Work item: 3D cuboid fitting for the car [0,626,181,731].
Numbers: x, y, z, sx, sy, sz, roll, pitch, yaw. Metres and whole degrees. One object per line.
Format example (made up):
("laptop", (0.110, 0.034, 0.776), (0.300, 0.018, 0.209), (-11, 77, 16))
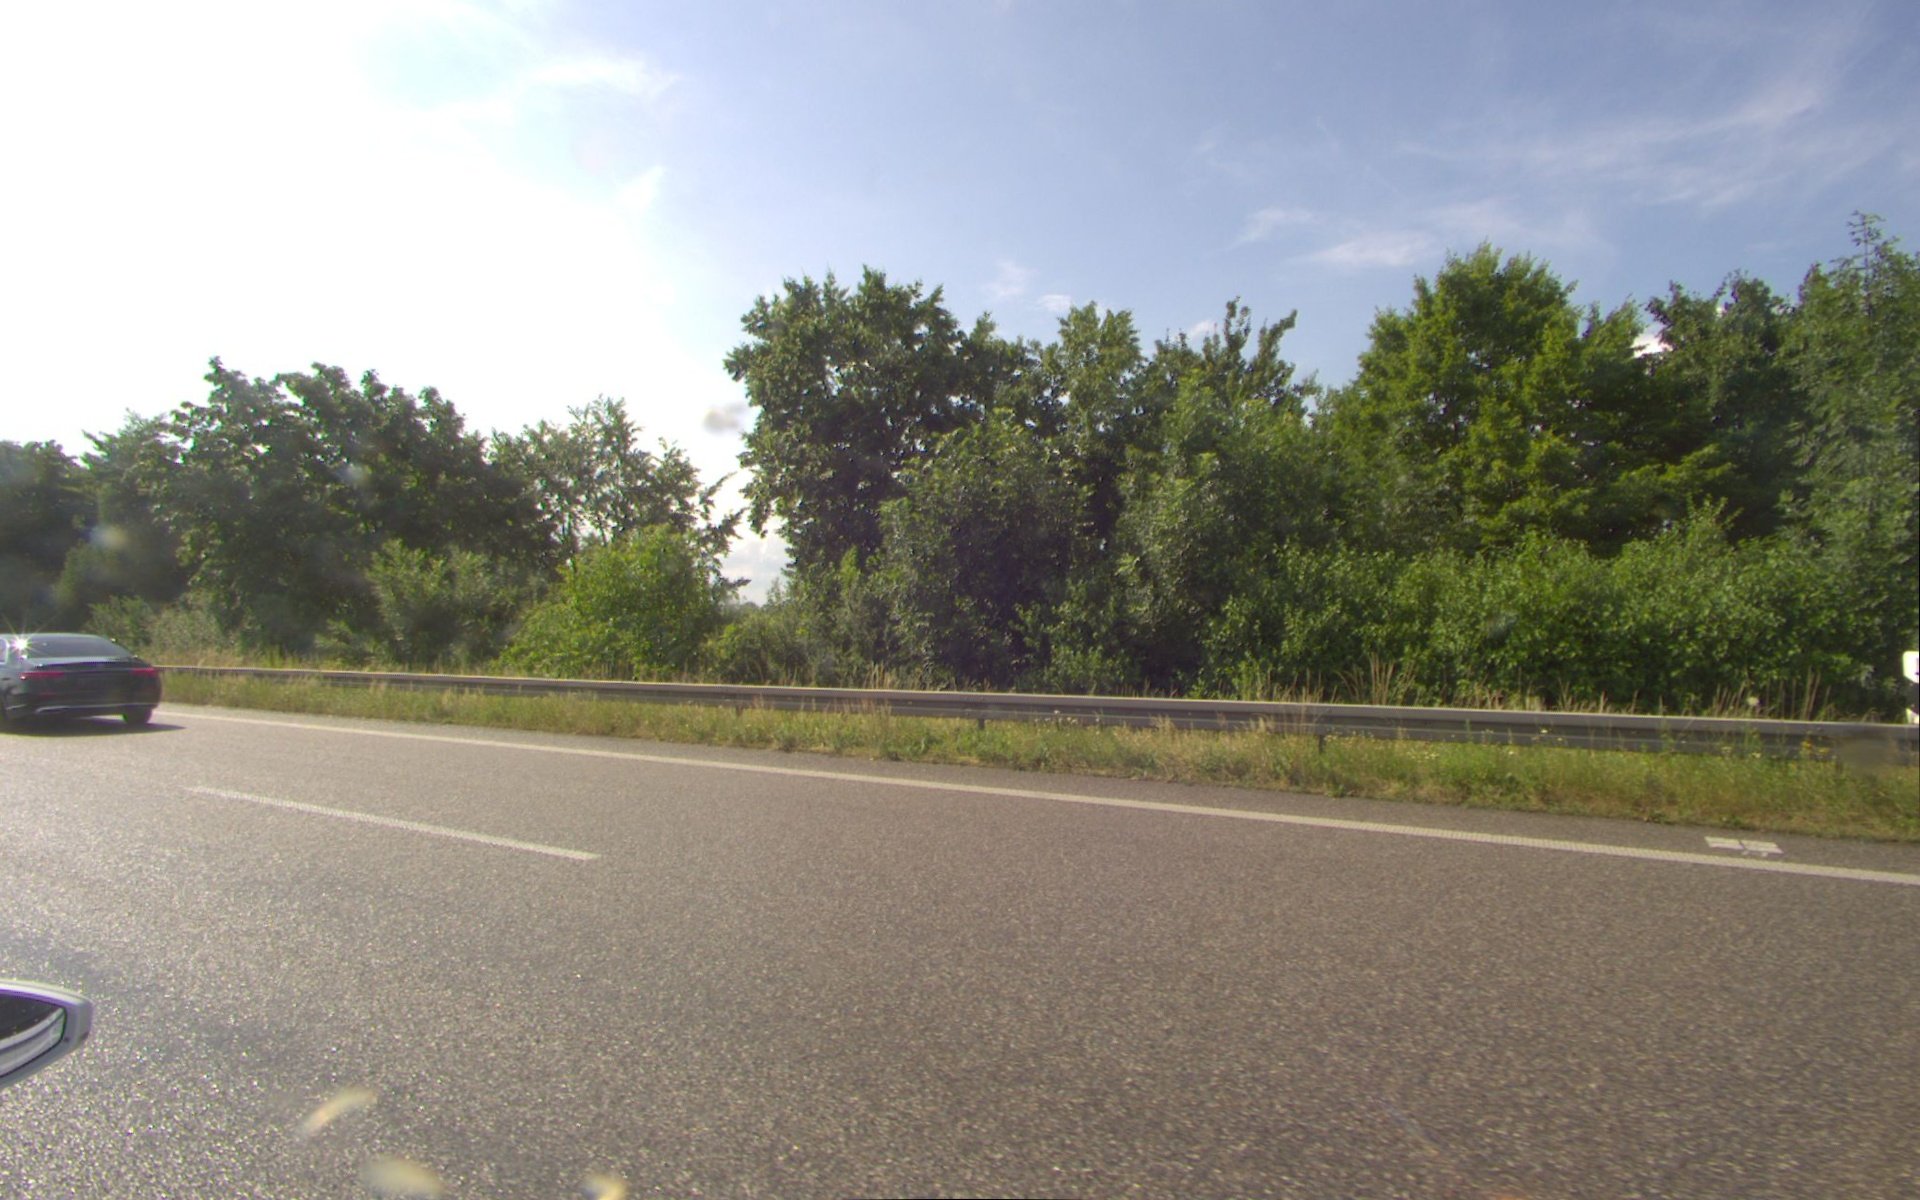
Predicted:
("car", (-14.768, 1.204, 16.263), (3.938, 1.513, 1.876), (-1, -2, 28))
